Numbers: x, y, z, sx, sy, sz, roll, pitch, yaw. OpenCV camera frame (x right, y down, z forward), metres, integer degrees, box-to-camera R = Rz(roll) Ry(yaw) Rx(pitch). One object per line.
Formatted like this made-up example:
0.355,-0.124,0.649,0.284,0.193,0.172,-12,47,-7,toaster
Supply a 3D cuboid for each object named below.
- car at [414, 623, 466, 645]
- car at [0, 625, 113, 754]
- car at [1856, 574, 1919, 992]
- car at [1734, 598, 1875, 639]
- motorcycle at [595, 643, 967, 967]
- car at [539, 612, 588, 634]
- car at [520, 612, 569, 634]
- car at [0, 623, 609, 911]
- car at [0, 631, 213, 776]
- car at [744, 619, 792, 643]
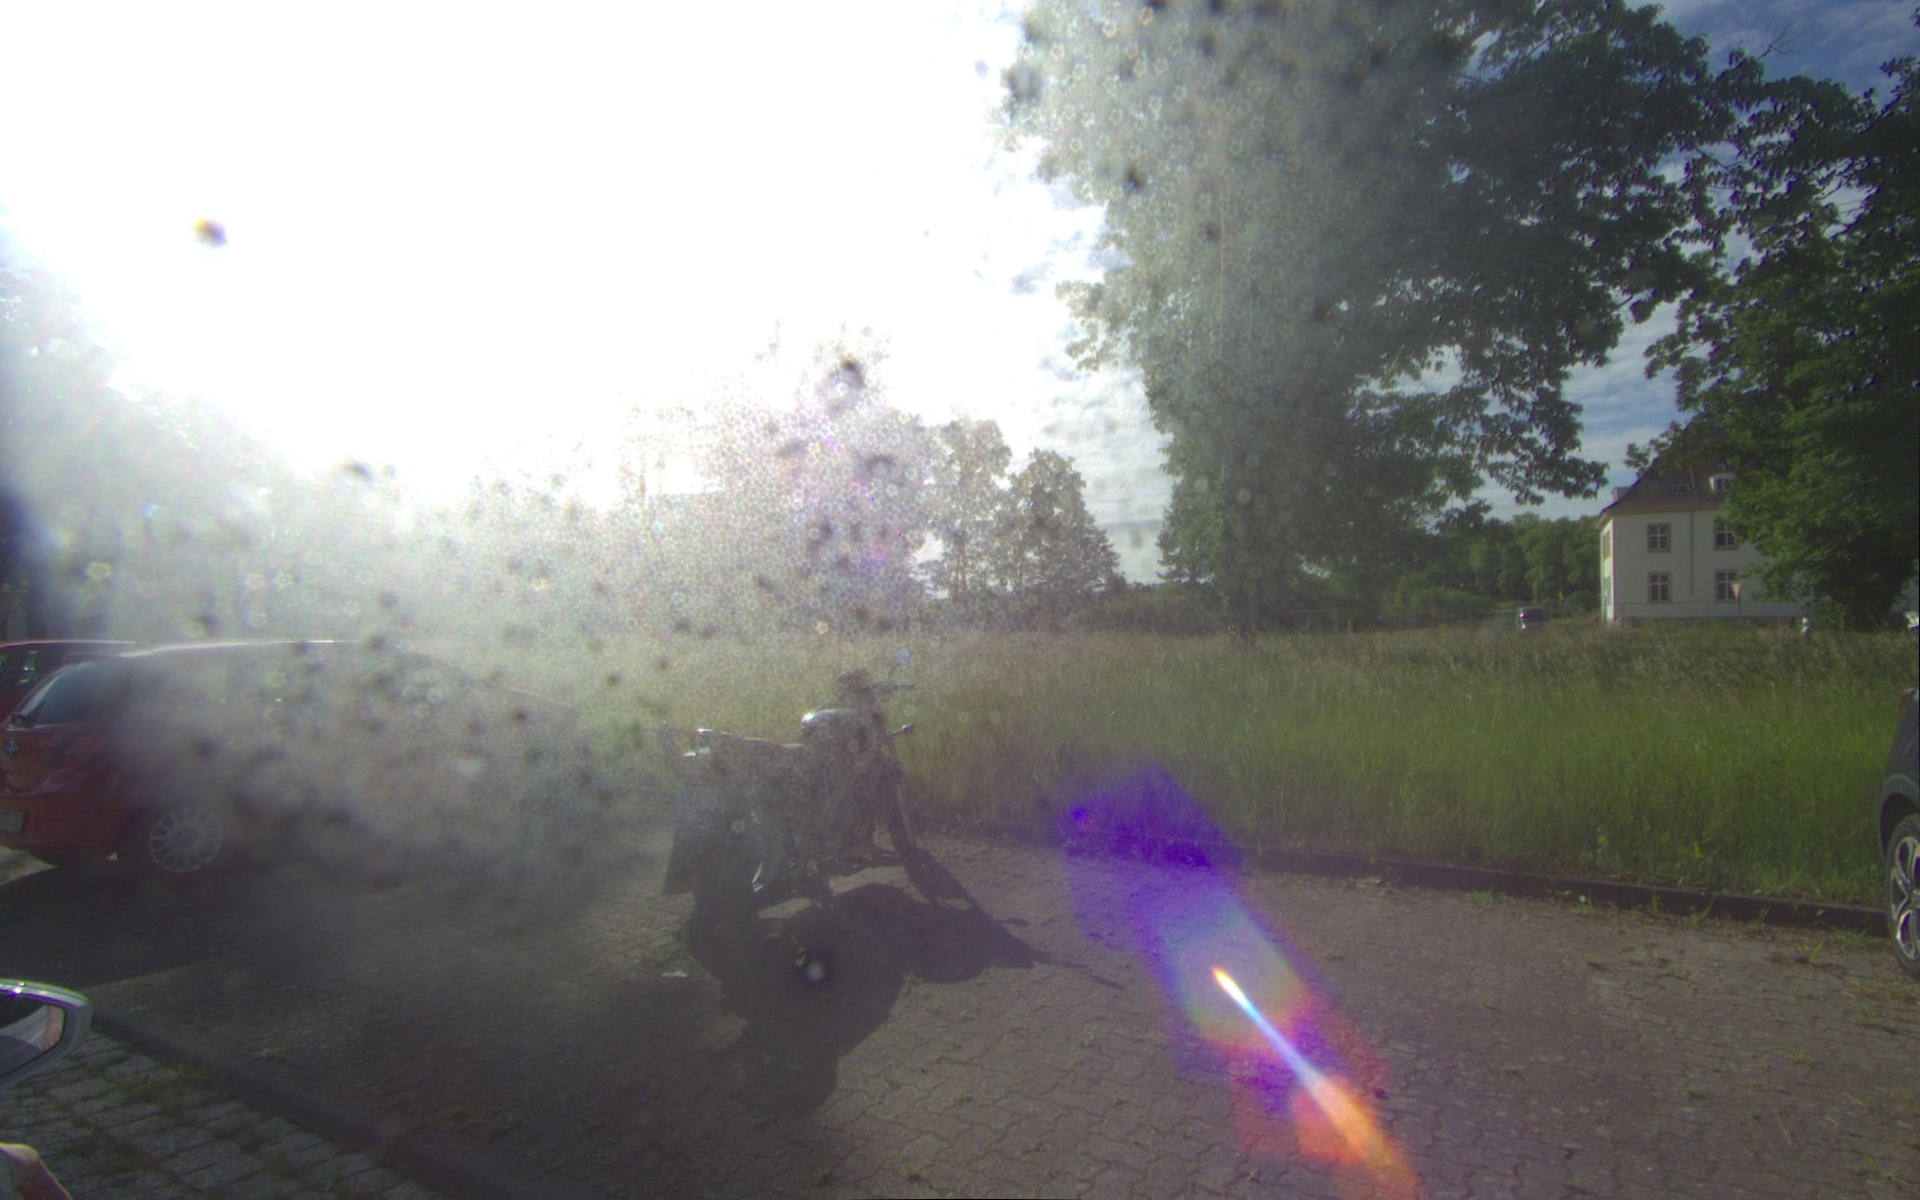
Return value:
-50.193,3.291,96.725,1.970,2.040,3.982,-1,-1,30,car
-13.492,1.169,12.642,1.745,1.642,3.932,-1,-1,29,car
3.794,0.673,2.296,1.725,1.611,4.172,-1,-1,30,car
49.641,1.138,59.001,2.347,2.199,5.973,0,-3,-37,car
-0.846,0.950,5.577,0.715,1.337,2.296,-1,0,30,motorcycle
-37.433,2.194,94.658,1.970,2.040,3.982,-1,-1,30,car
-39.688,2.227,95.645,1.970,2.040,3.982,-1,-1,30,car
-4.741,0.972,7.568,1.621,1.498,3.822,-1,0,29,car
-11.113,1.162,11.489,1.620,1.550,3.759,-1,-1,29,car
-16.829,2.669,87.807,1.970,2.040,3.982,-1,-1,30,car
